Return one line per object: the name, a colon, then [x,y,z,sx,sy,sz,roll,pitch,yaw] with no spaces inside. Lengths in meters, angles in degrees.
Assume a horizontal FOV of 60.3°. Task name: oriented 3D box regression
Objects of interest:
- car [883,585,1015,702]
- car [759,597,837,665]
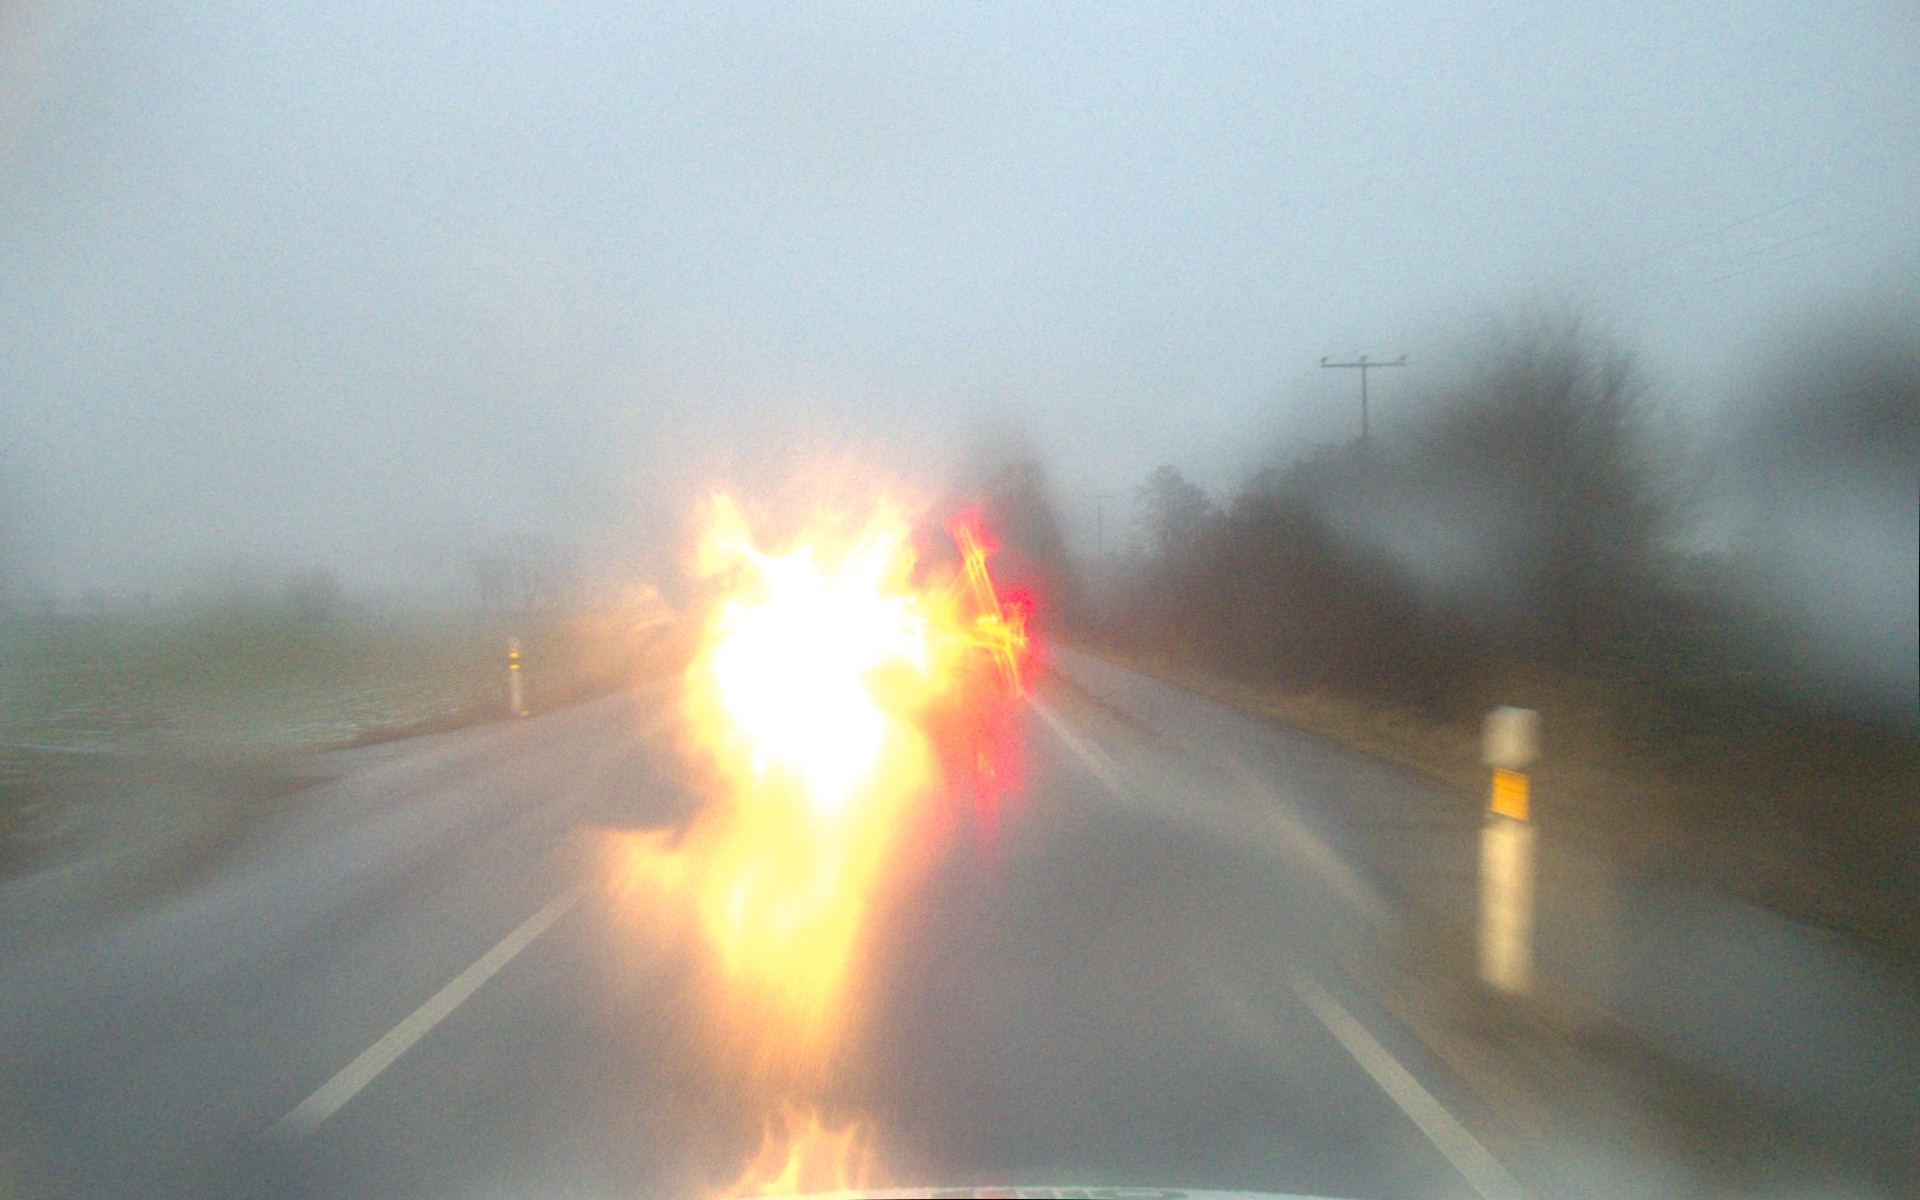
car: [-0.202,0.762,28.617,2.077,1.852,4.978,0,-2,-1]
car: [-4.311,0.798,44.525,1.759,1.715,4.185,-1,0,-2]
